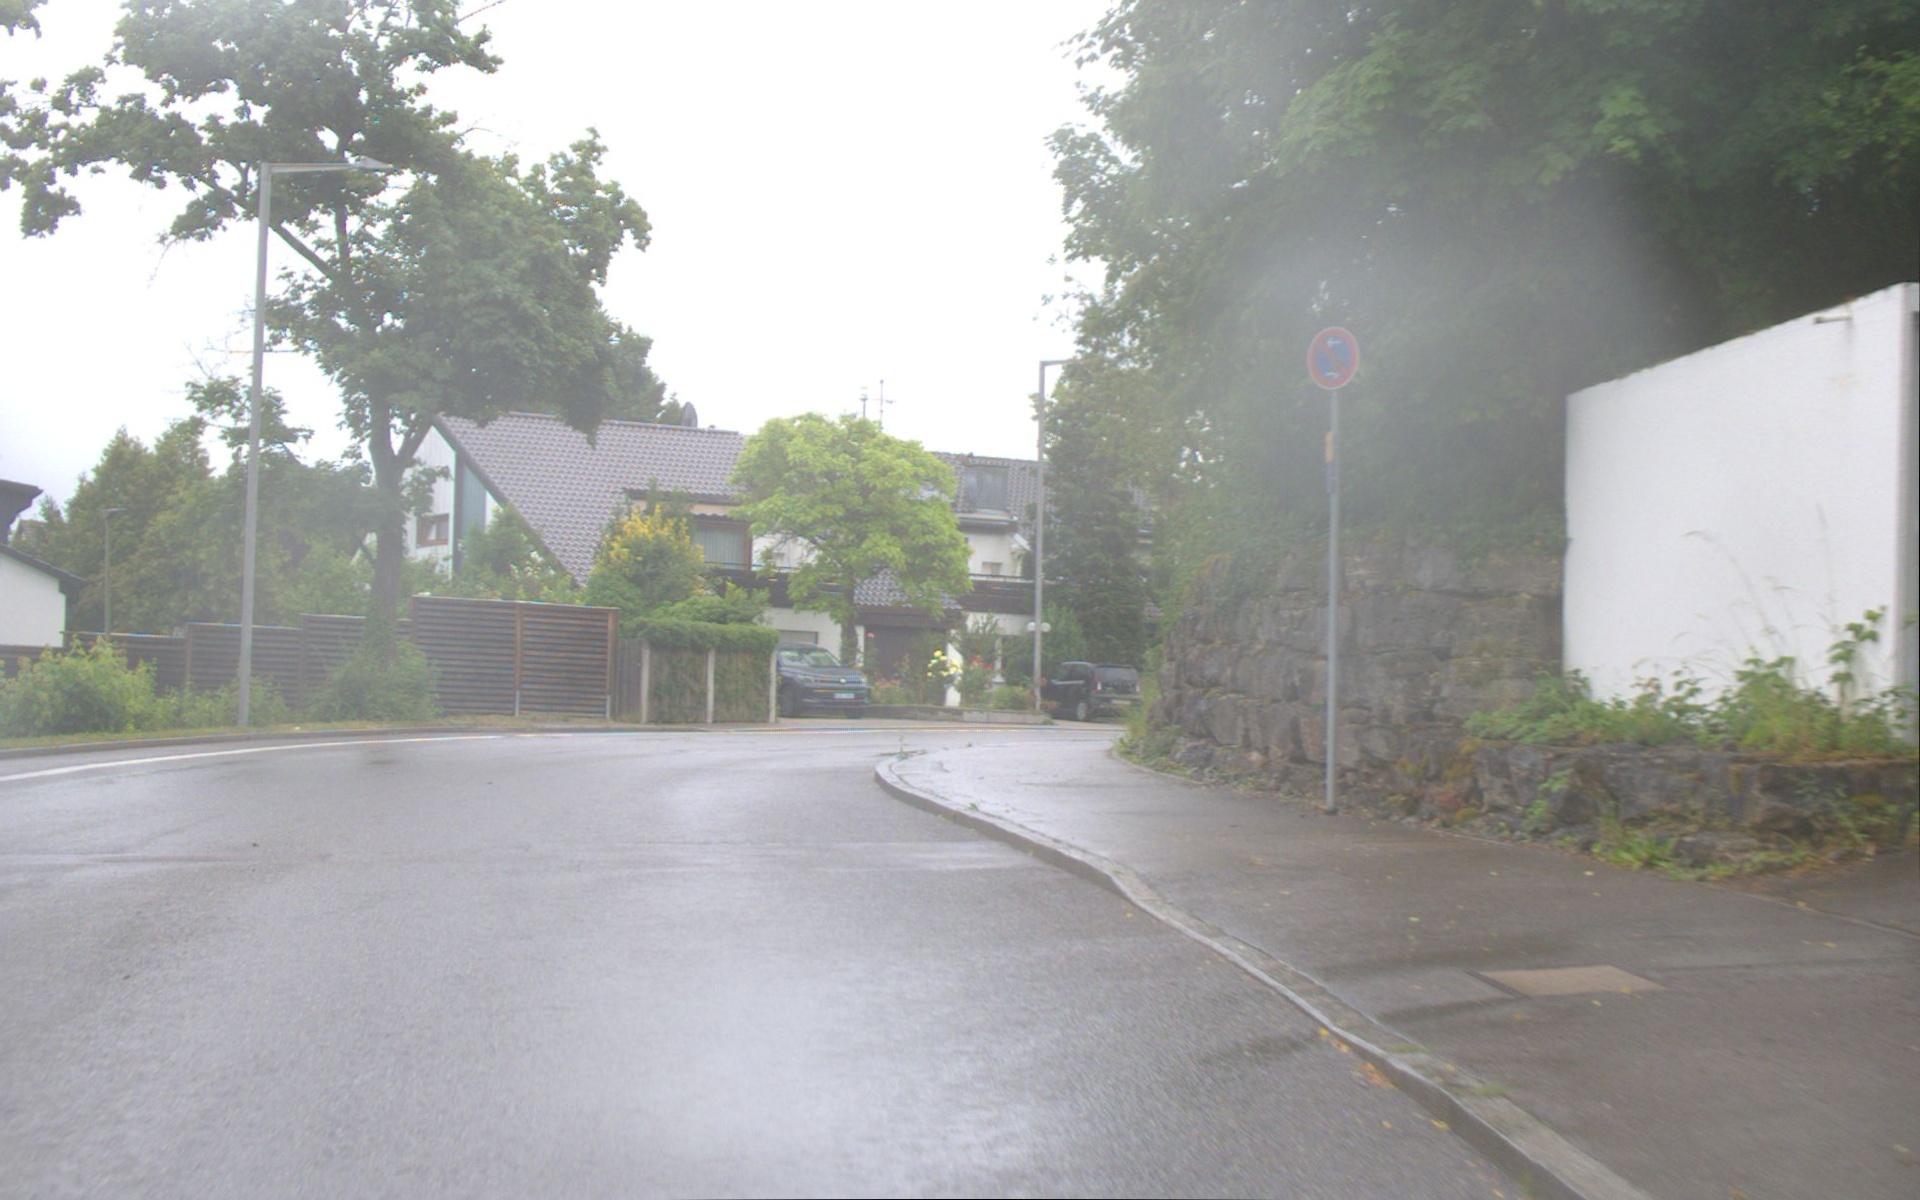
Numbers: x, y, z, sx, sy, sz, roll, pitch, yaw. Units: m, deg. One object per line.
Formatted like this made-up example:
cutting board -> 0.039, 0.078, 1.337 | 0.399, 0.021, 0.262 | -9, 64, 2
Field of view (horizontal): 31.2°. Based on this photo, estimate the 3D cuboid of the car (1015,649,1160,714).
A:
car -> 3.083, 1.977, 83.881 | 1.934, 1.385, 4.001 | 4, -2, -23

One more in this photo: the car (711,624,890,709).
car -> -3.567, 1.460, 76.328 | 2.008, 1.626, 3.999 | 4, -1, -37
